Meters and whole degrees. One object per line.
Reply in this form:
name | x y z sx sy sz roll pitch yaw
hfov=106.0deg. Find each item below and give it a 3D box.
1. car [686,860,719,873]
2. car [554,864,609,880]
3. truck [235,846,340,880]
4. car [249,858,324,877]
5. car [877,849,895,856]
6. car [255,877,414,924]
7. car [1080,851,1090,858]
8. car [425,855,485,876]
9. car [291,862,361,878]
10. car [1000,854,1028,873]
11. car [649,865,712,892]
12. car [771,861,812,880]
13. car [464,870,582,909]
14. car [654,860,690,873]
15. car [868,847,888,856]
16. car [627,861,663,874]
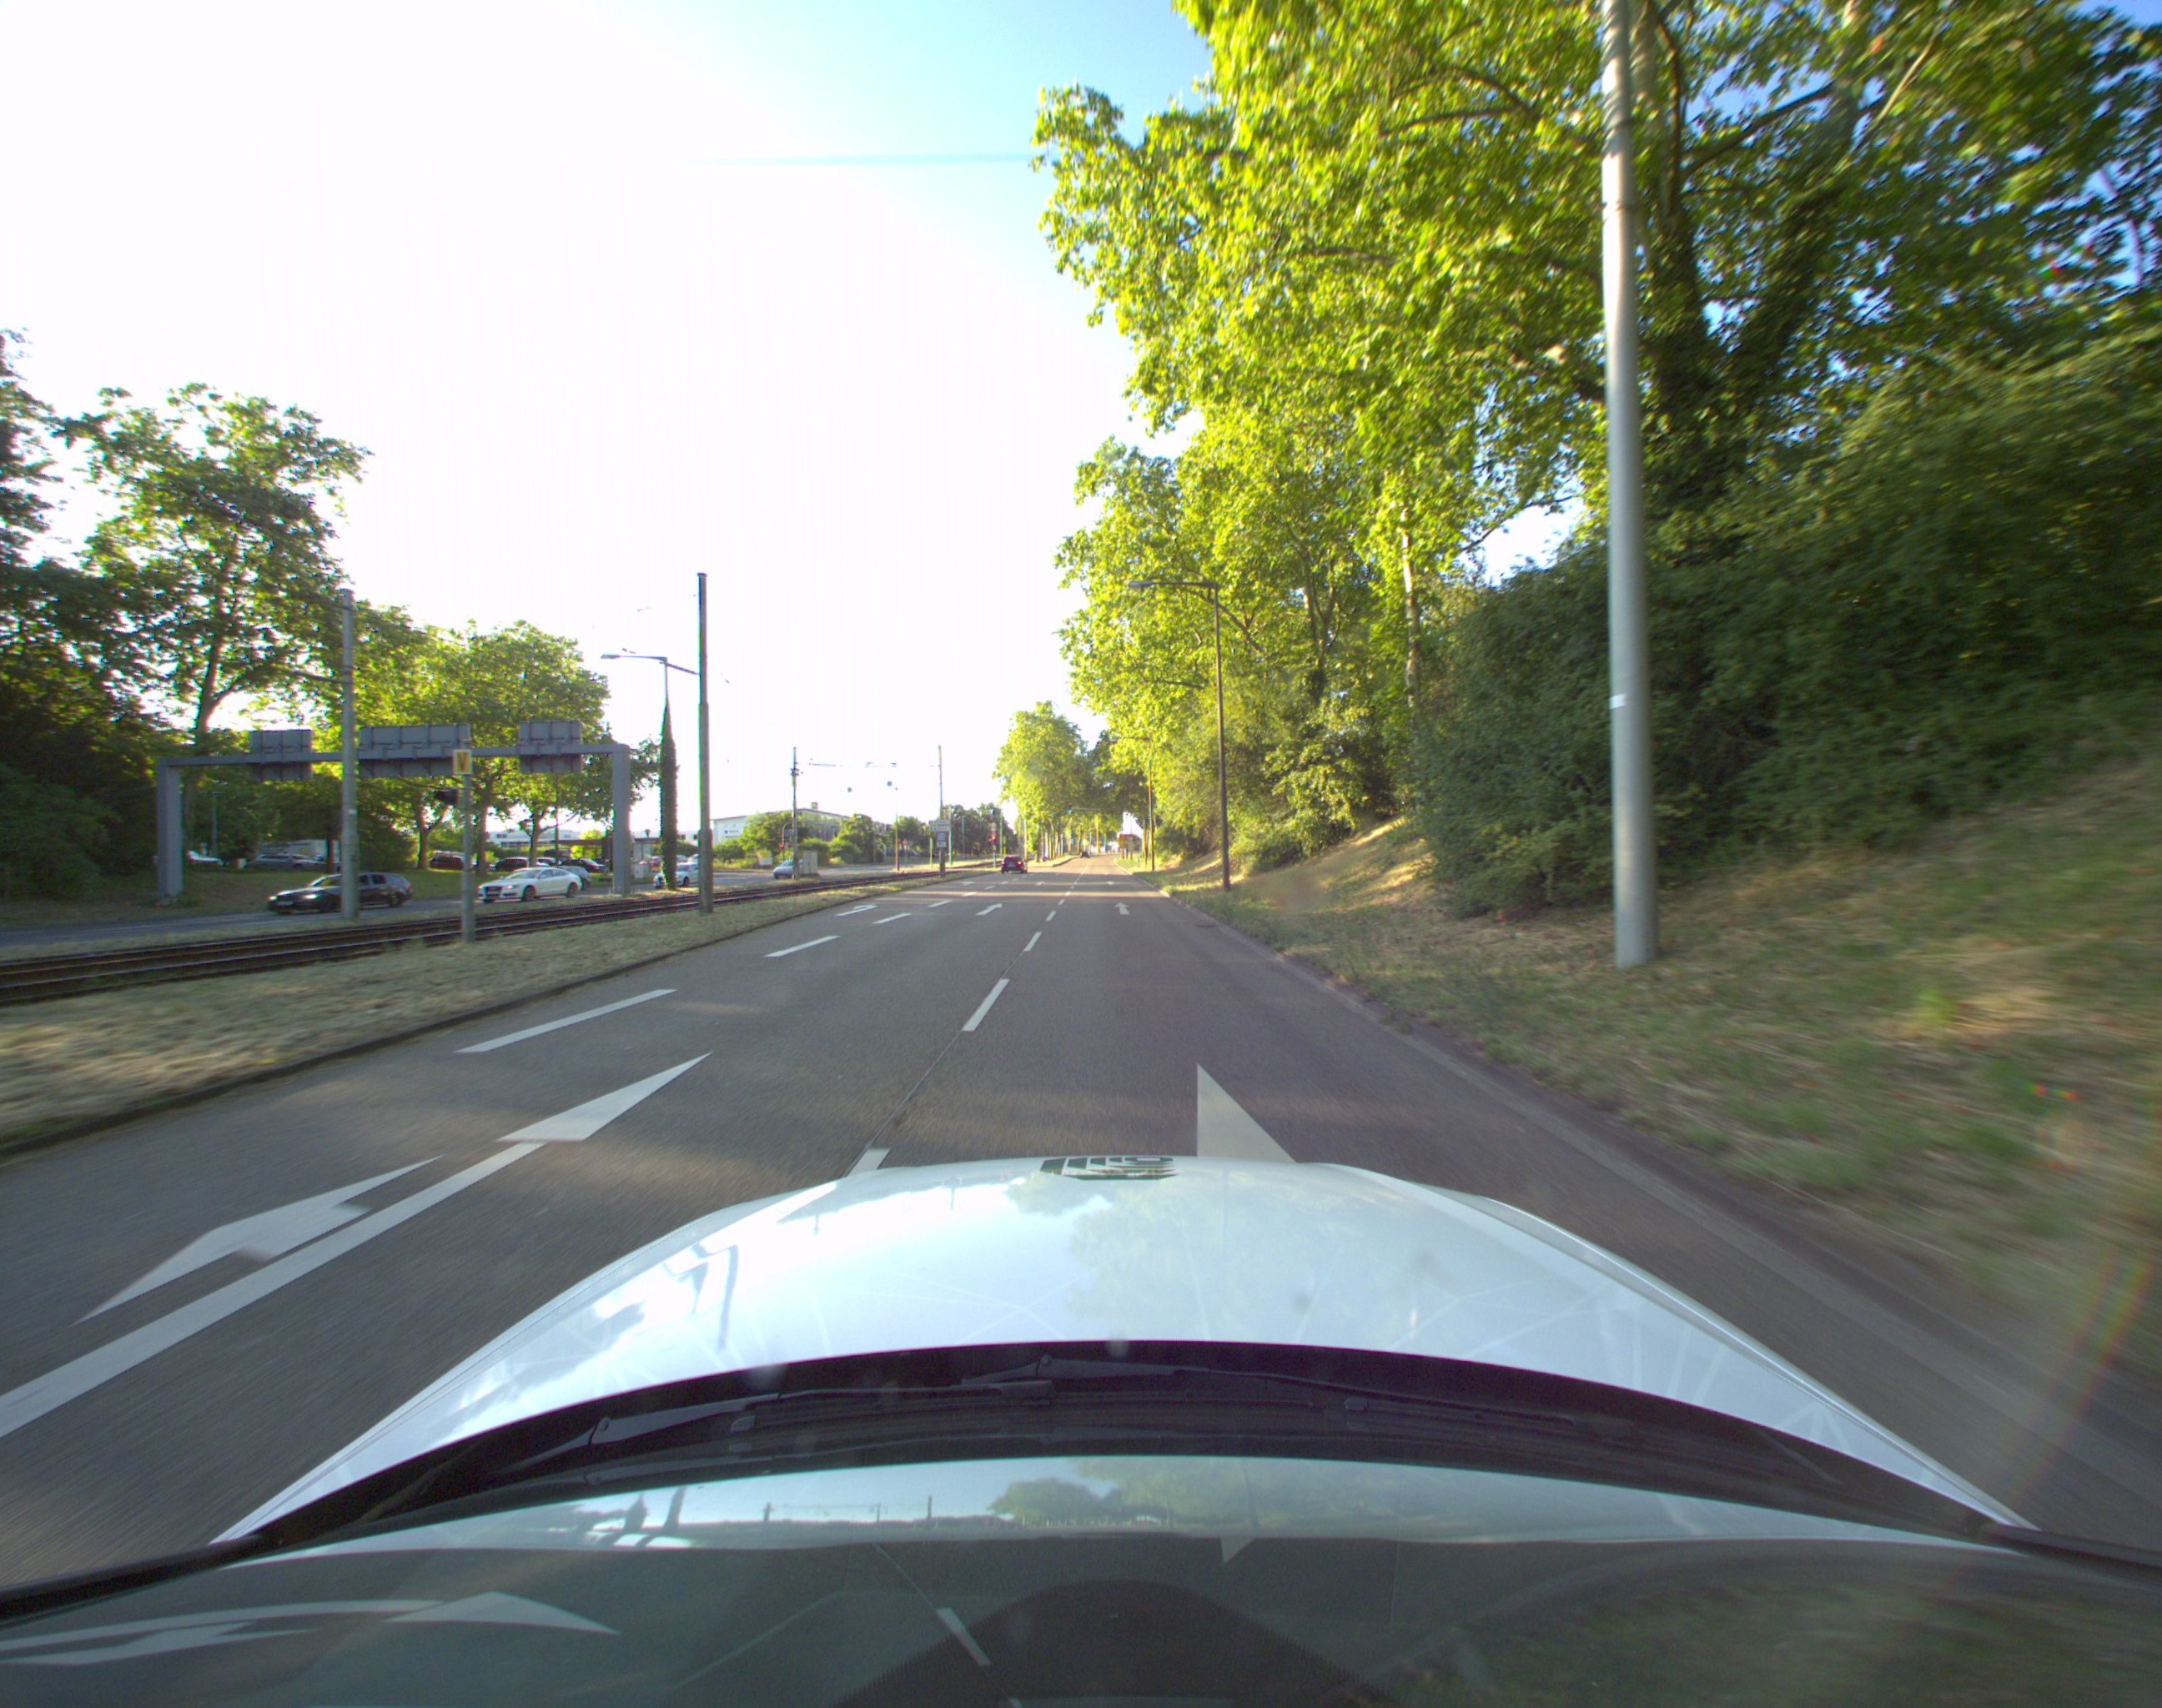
car | -43.984 1.410 94.729 1.833 1.442 4.004 0 0 4
car | -45.858 1.631 74.803 4.033 1.387 1.788 0 0 7
truck | -81.956 0.894 84.173 8.257 3.388 2.735 0 0 1
car | -60.274 1.045 61.821 3.975 1.372 1.673 0 0 -1
car | -38.385 -0.257 160.325 3.135 1.391 1.454 0 0 -3
car | -27.643 1.680 30.393 1.832 1.481 4.436 -1 0 0
car | 0.832 0.158 165.871 1.785 1.403 3.690 -1 0 2
car | -57.483 1.020 74.810 3.969 1.860 2.002 -1 0 4
car | -60.276 1.270 65.093 3.975 1.260 1.673 0 0 -1
car | -5.383 0.756 65.967 1.785 1.403 3.690 -1 0 2
car | -23.810 1.442 48.545 1.648 1.416 4.258 -1 0 0
car | -23.138 1.279 65.270 1.647 1.416 4.259 -1 0 1
car | -23.614 1.471 34.695 1.832 1.416 4.598 -2 0 0
car | -47.300 1.460 94.267 1.833 1.442 4.004 0 0 4
car | -35.400 -0.438 142.345 3.135 1.391 1.454 0 0 -3
car | -50.565 1.543 94.617 1.833 1.442 4.004 0 0 4
